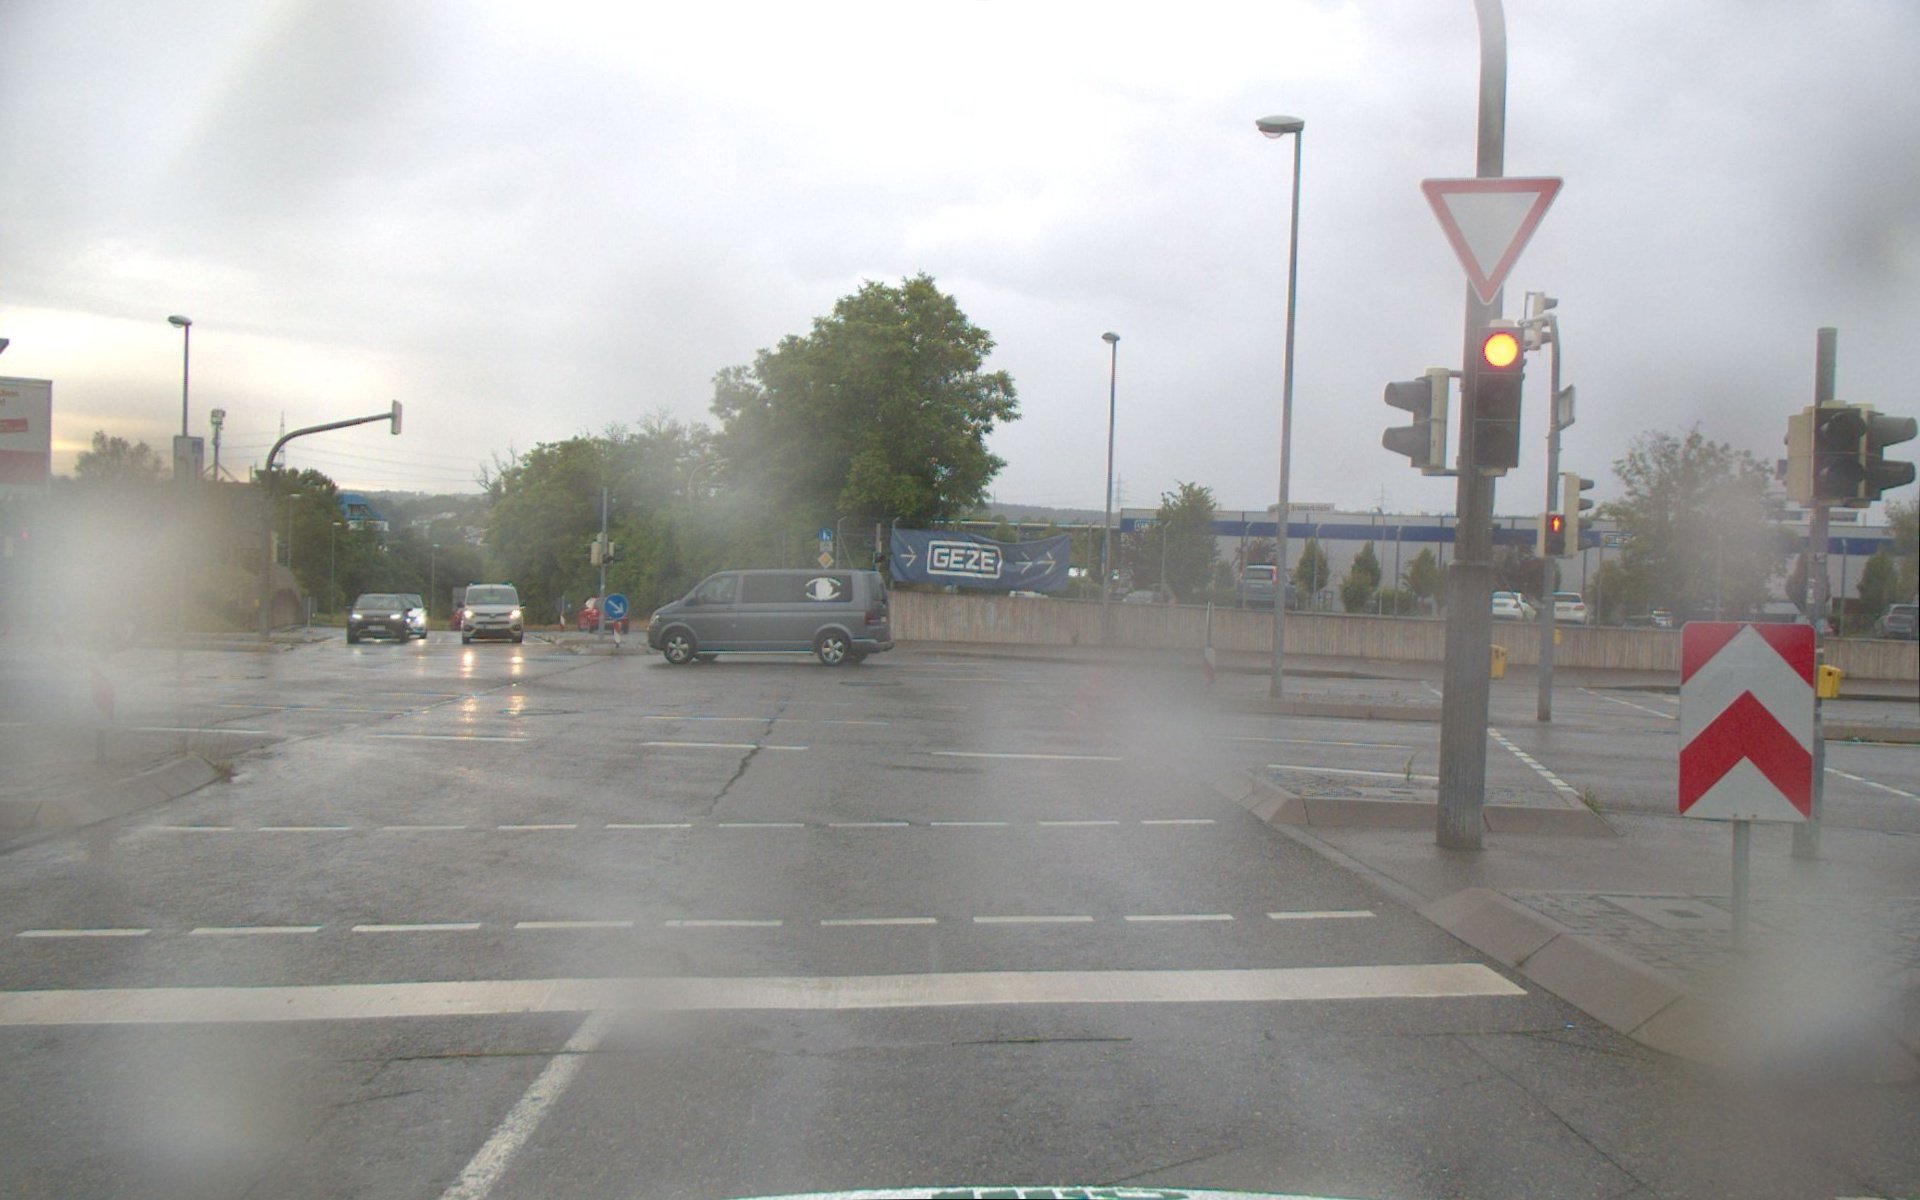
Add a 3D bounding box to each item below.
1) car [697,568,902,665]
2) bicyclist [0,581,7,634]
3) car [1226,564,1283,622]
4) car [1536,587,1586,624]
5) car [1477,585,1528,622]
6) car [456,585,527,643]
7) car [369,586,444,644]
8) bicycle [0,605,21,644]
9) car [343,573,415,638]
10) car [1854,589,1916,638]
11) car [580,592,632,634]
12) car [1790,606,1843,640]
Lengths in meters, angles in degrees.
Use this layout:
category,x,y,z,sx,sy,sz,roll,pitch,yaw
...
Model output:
category,x,y,z,sx,sy,sz,roll,pitch,yaw
car,-3.343,0.327,34.882,3.902,1.881,2.002,2,1,8
bicyclist,-27.059,0.197,46.215,0.533,1.471,0.602,1,0,-7
car,10.972,-0.269,61.391,1.951,2.049,4.004,1,0,11
car,25.940,0.214,71.444,1.952,1.504,4.001,2,1,19
car,23.650,0.145,72.058,1.952,1.504,4.001,2,1,20
car,-14.439,0.413,51.152,1.960,1.646,3.985,1,1,-15
car,-19.725,0.517,59.055,1.958,1.928,3.990,1,1,-11
bicycle,-27.305,0.667,46.191,1.740,1.070,0.609,1,0,-7
car,-18.134,0.166,51.776,1.963,1.928,3.980,1,0,-18
car,34.780,0.511,62.160,1.686,1.745,3.636,2,1,34
car,-14.482,0.509,67.603,1.591,1.474,3.787,2,2,-19
car,39.738,1.042,76.714,1.736,1.504,3.635,2,1,35
